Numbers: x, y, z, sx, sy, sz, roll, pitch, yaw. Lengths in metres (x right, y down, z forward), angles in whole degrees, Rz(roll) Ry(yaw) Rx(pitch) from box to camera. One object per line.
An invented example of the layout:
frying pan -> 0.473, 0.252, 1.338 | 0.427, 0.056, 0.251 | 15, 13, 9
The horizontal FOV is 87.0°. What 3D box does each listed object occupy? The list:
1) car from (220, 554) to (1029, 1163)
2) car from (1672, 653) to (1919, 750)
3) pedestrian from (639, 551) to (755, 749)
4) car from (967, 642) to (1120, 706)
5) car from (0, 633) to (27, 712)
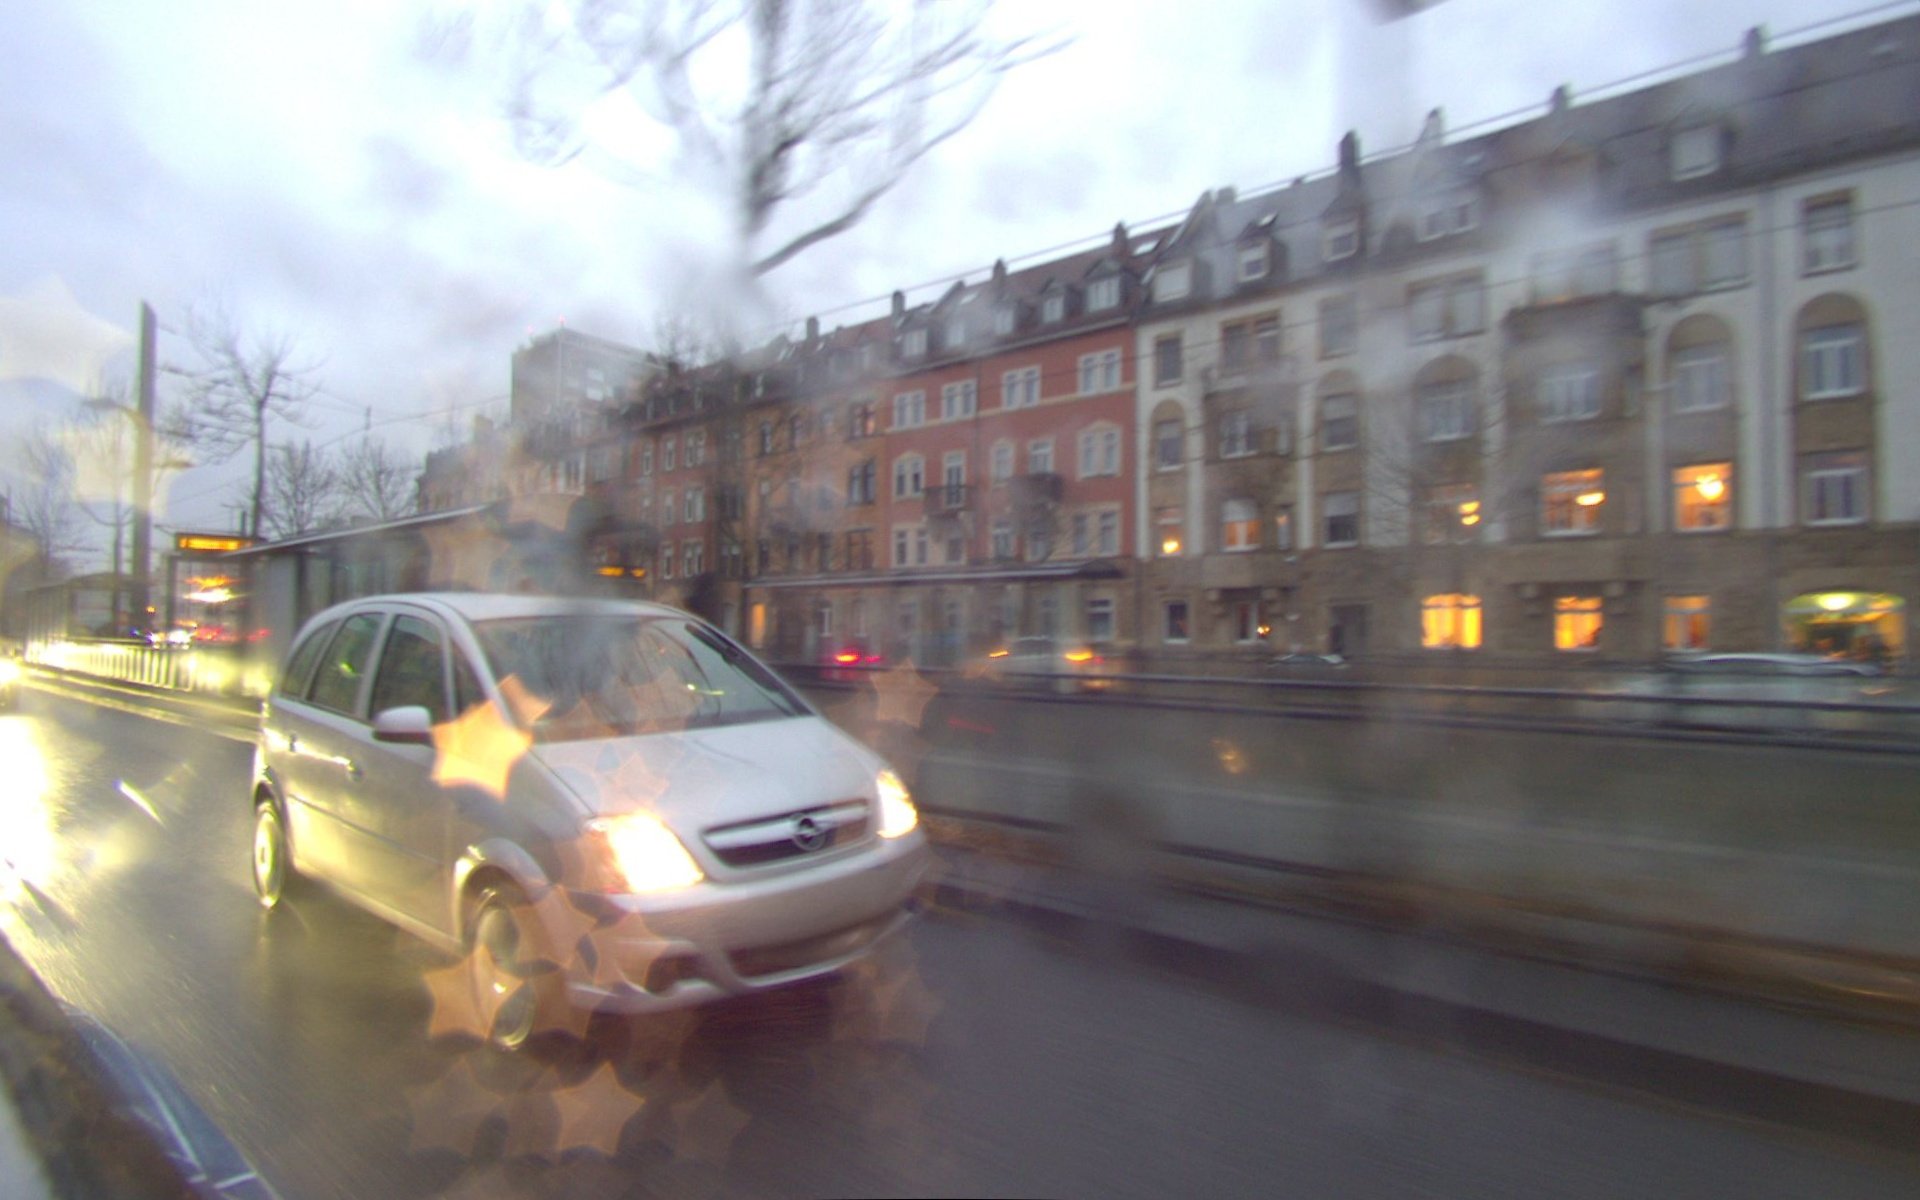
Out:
car -> -1.828, 0.740, 4.719 | 4.052, 1.612, 1.790 | -2, -2, 41
car -> 13.947, 1.631, 16.844 | 3.258, 1.418, 1.660 | -2, -4, 41
pedestrian -> -2.872, 0.548, 11.036 | 0.864, 2.029, 0.932 | 4, -4, -38
car -> 2.178, 1.907, 26.728 | 3.744, 1.546, 1.662 | -1, -4, 38
car -> -18.968, 1.337, 18.955 | 4.052, 1.403, 1.790 | -2, -2, 42
